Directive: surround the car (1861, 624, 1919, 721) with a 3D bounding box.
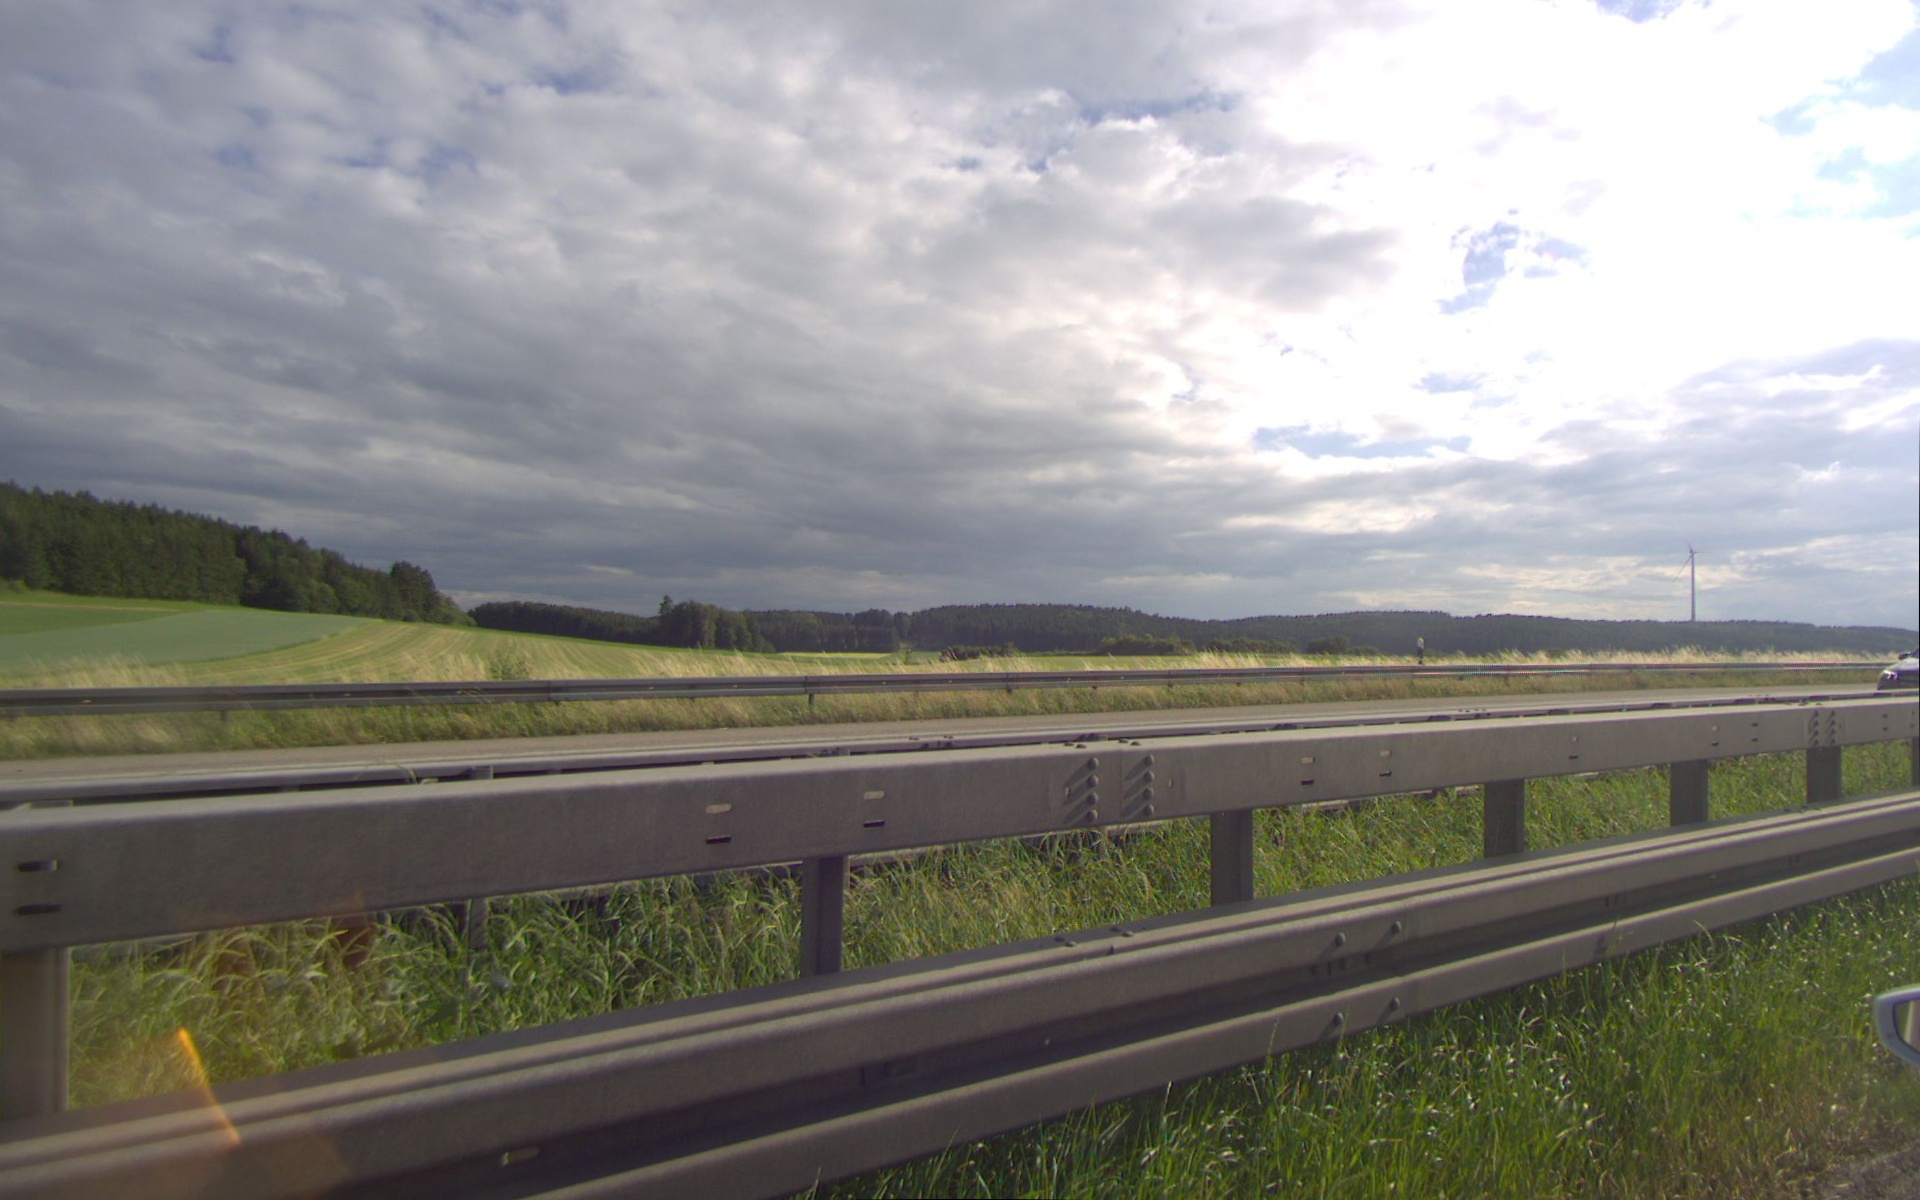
[{"bbox_3d":[19.891,1.443,19.890,4.312,1.793,1.814,2,-1,-30],"label":"car"}]
